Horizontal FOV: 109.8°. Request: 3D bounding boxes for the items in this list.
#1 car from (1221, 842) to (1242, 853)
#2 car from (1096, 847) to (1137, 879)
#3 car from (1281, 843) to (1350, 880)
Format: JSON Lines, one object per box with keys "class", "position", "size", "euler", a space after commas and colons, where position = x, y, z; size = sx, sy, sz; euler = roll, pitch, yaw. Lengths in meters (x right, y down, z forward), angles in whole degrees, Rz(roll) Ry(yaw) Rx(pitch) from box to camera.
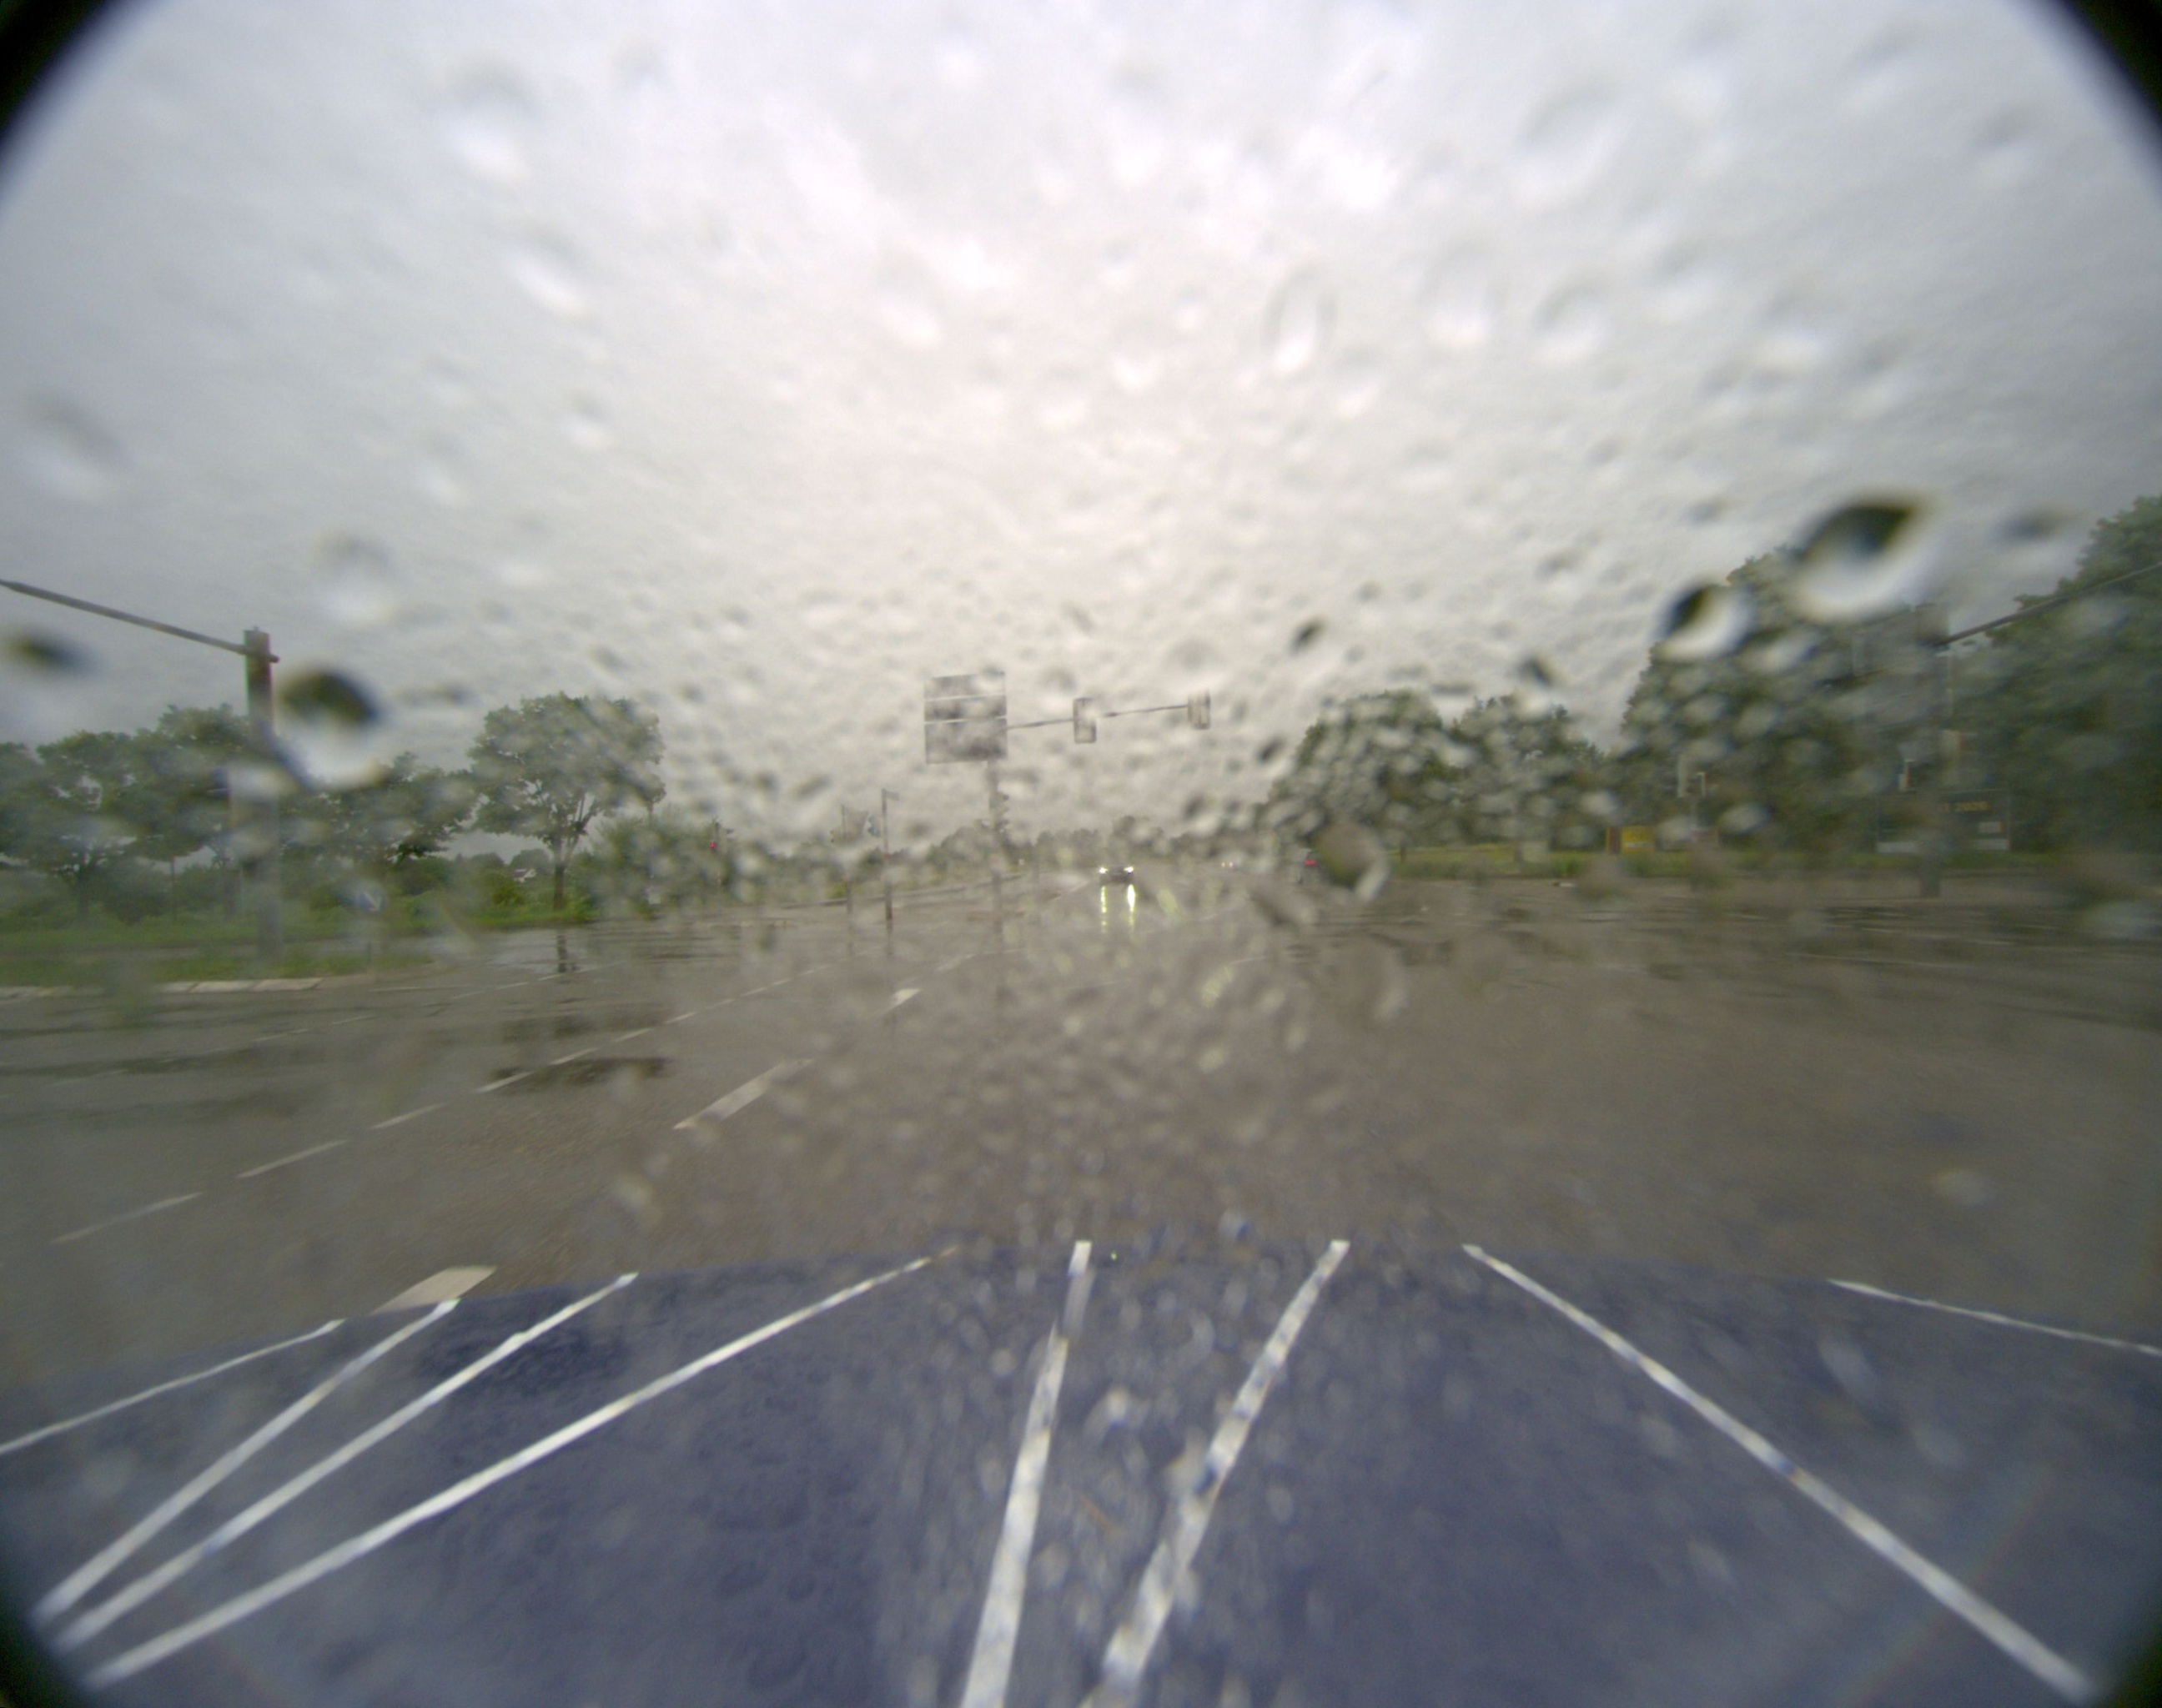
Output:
{"class": "car", "position": [26.632, -1.166, 134.560], "size": [1.912, 1.678, 4.111], "euler": [-2, 1, 37]}
{"class": "car", "position": [1.874, 0.450, 41.373], "size": [1.916, 1.576, 4.102], "euler": [-2, 1, -1]}
{"class": "car", "position": [10.129, 0.289, 33.139], "size": [1.713, 1.457, 4.453], "euler": [-2, 1, 2]}
